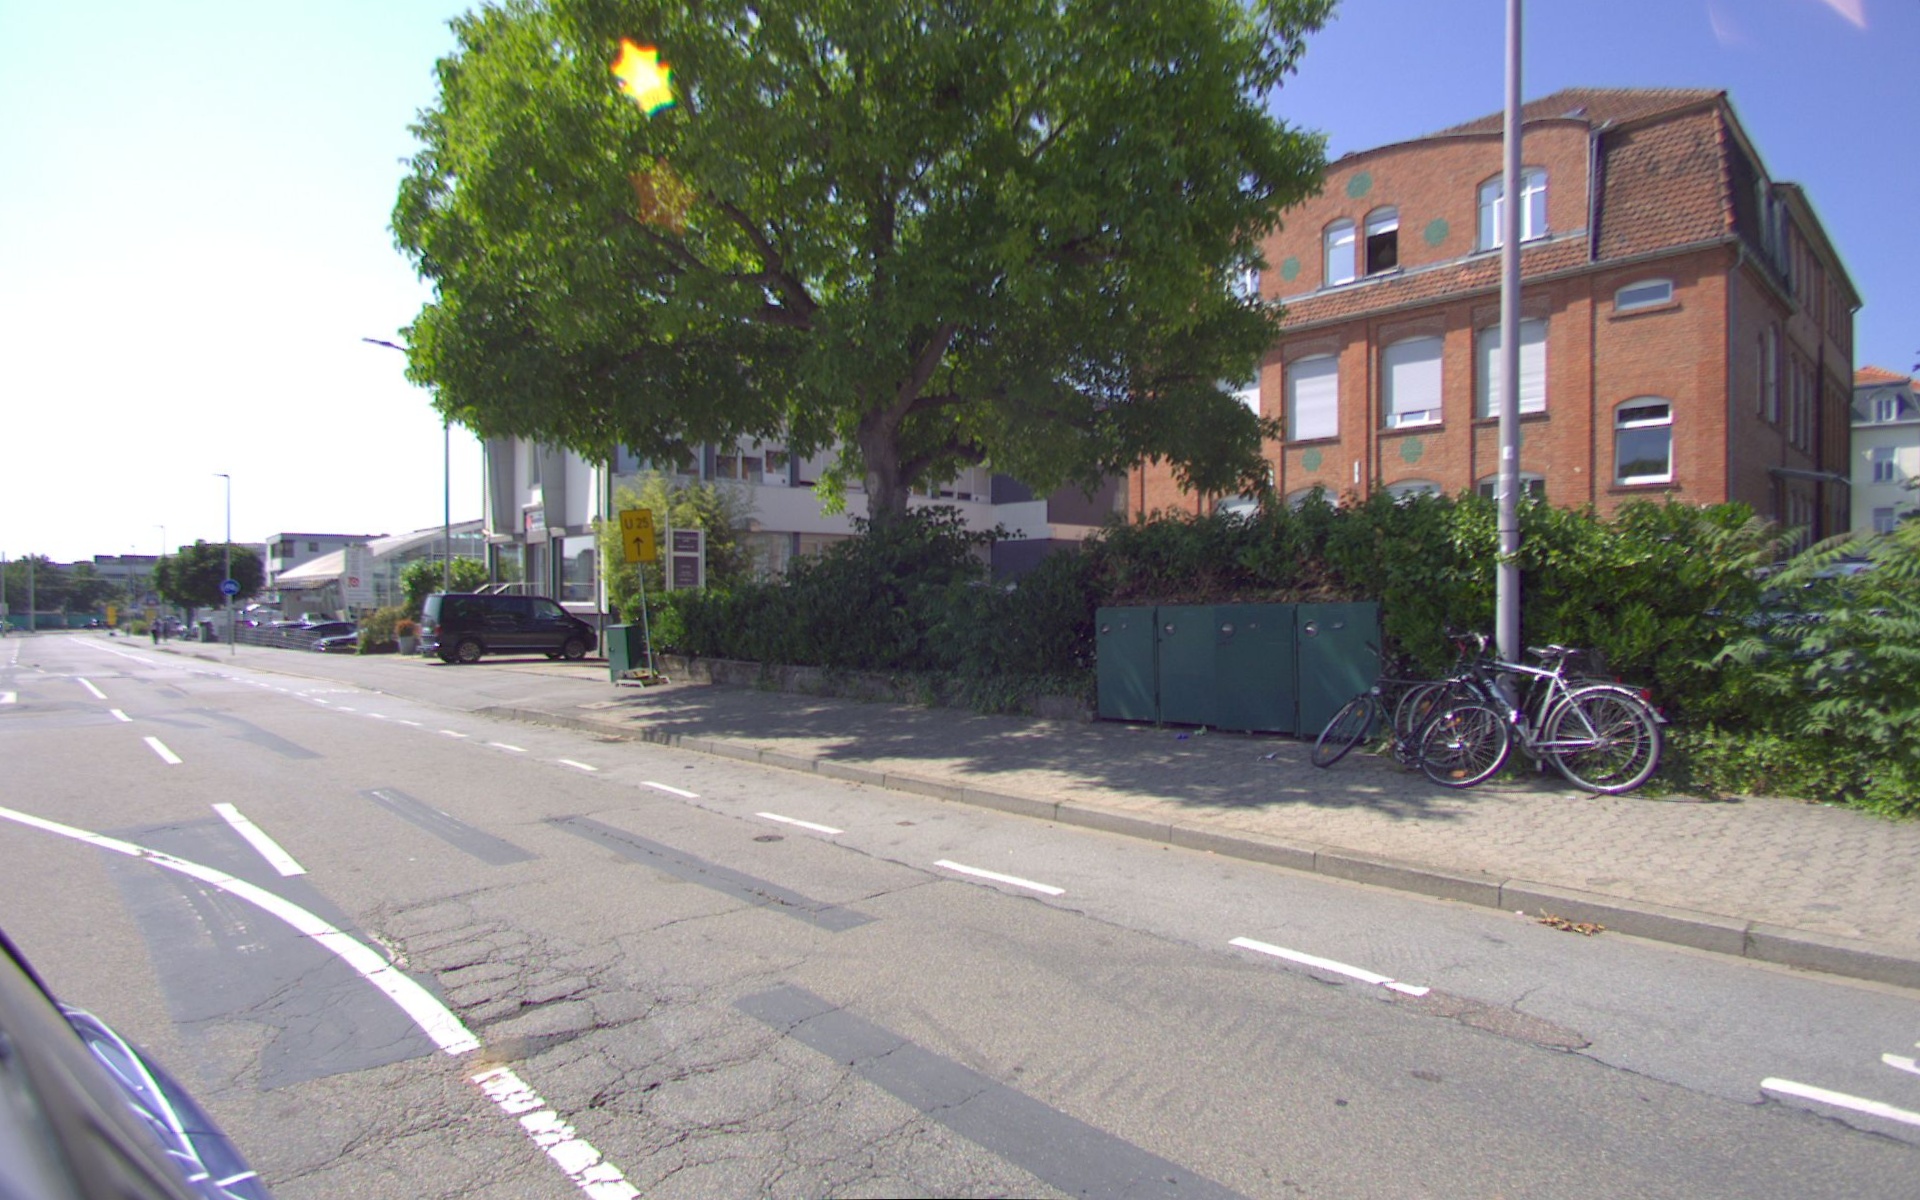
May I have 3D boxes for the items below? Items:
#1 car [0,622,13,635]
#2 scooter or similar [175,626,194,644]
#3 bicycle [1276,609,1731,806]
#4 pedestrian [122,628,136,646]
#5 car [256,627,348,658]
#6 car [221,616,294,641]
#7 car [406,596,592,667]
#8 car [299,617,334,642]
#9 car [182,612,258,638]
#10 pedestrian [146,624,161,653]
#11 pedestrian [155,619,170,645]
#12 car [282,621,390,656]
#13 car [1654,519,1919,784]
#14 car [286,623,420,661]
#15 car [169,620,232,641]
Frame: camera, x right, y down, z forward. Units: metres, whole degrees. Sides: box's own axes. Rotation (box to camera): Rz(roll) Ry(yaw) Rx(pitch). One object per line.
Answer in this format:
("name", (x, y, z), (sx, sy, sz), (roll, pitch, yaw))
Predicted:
("car", (-131.206, 3.961, 137.014), (3.931, 1.718, 2.007), (-3, 1, -22))
("scooter or similar", (-55.289, 2.486, 72.110), (1.489, 1.257, 0.736), (-2, 0, 39))
("bicycle", (3.885, 0.683, 7.476), (2.767, 1.126, 1.015), (-1, 3, 44))
("pedestrian", (-80.343, 3.603, 97.824), (0.980, 1.698, 0.802), (0, -1, -32))
("car", (-36.477, 2.335, 56.142), (1.859, 1.501, 3.943), (2, 1, 43))
("car", (-49.656, 2.015, 71.610), (1.842, 1.562, 3.979), (-2, 0, 16))
("car", (-13.300, 0.891, 29.355), (4.511, 1.880, 2.095), (1, -2, -43))
("car", (-46.781, 2.101, 73.500), (1.967, 1.696, 4.010), (-1, 0, -35))
("car", (-55.093, 1.842, 75.432), (1.839, 1.709, 4.564), (-2, 0, 11))
("pedestrian", (-53.283, 2.525, 66.863), (0.723, 1.882, 1.049), (0, -1, -37))
("pedestrian", (-56.329, 2.263, 71.506), (0.911, 1.862, 0.715), (-2, -1, 43))
("car", (-31.420, 1.911, 51.039), (1.995, 1.570, 4.249), (-2, -1, 43))
("car", (7.708, 0.483, 8.807), (3.717, 1.855, 1.789), (5, -4, -39))
("car", (-26.630, 1.795, 44.493), (4.684, 1.492, 2.049), (0, -1, -45))
("car", (-62.708, 2.527, 83.618), (1.883, 1.470, 4.156), (-2, 1, 4))
